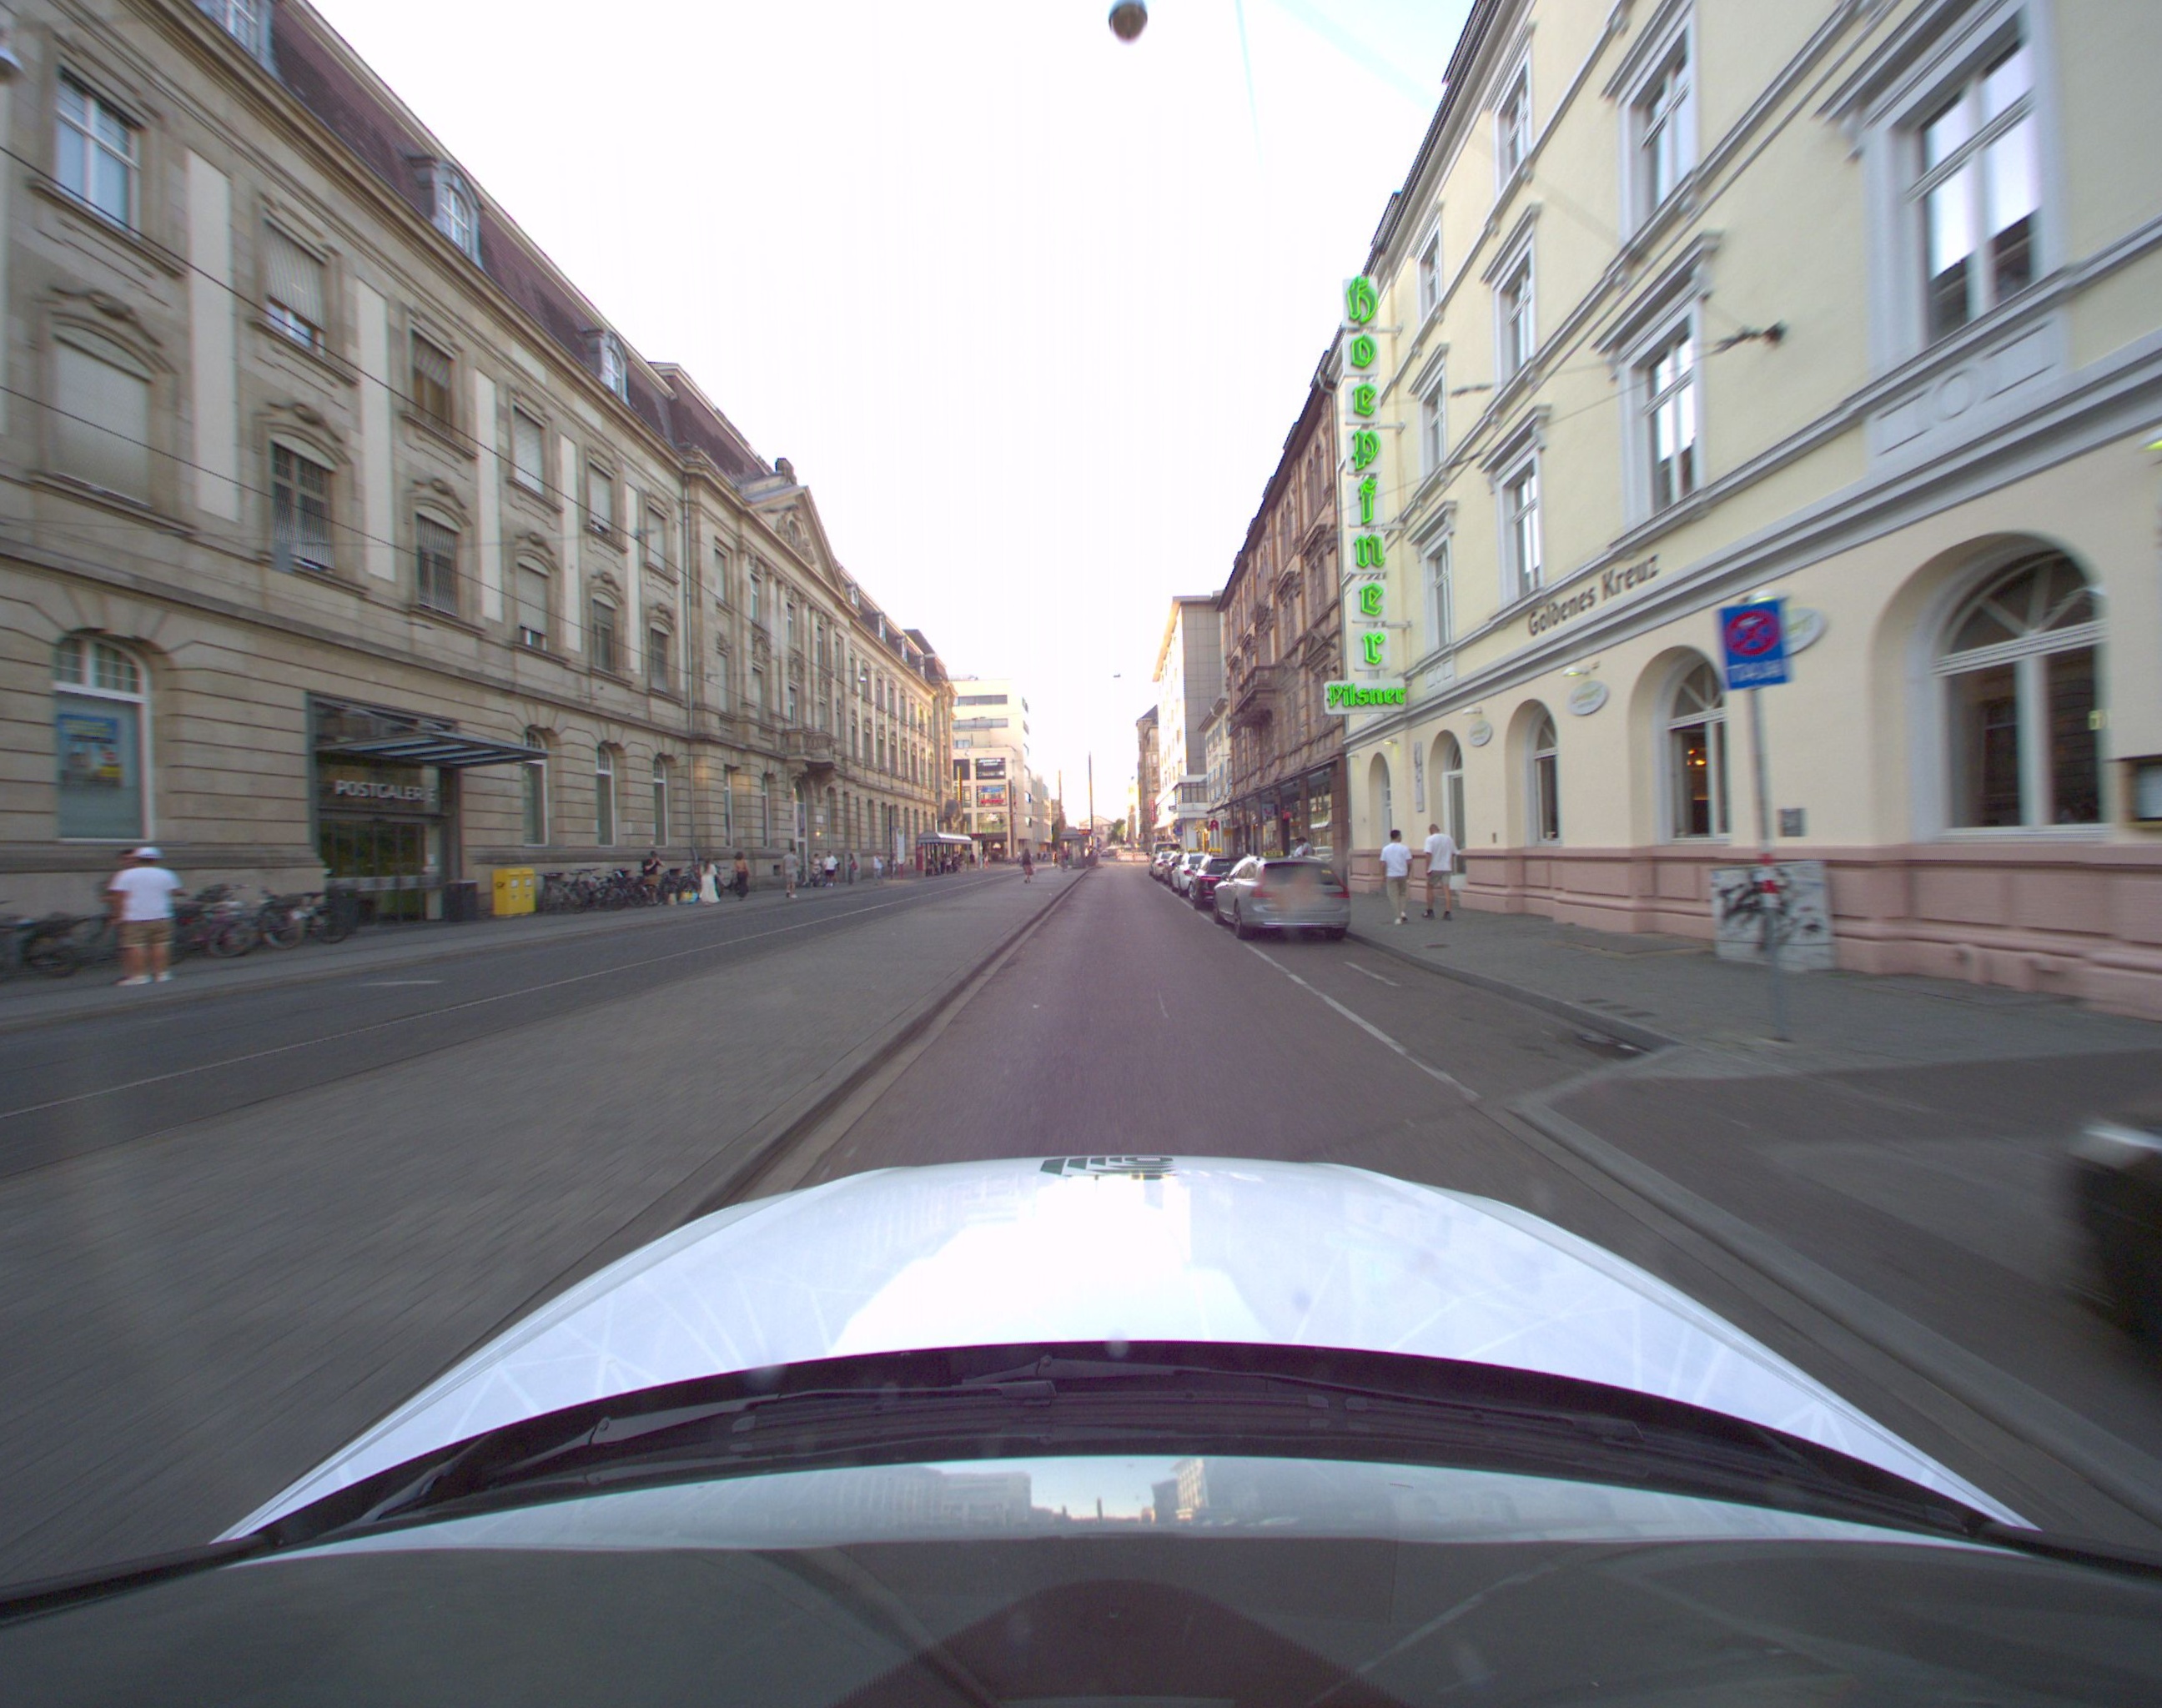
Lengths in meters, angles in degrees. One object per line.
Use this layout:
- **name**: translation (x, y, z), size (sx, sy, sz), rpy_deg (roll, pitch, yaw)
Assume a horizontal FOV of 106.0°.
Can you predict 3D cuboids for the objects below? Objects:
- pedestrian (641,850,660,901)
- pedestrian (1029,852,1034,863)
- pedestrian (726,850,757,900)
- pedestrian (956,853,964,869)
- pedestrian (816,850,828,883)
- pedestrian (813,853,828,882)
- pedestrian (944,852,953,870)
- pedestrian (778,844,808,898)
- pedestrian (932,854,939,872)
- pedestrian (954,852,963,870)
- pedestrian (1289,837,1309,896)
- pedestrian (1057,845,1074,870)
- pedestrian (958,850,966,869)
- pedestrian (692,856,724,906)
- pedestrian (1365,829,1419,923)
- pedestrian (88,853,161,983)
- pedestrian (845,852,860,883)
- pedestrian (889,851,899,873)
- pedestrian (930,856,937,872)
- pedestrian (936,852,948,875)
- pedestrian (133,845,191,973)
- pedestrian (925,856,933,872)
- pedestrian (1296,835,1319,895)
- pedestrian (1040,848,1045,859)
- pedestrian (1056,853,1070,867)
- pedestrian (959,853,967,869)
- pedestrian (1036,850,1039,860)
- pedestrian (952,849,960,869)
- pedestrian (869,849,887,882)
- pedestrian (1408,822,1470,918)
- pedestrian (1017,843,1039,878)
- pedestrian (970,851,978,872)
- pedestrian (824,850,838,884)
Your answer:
- **pedestrian**: translation (-14.022, 0.688, 26.538), size (0.362, 1.633, 0.430), rpy_deg (0, 0, 7)
- **pedestrian**: translation (-7.628, 0.553, 126.503), size (0.644, 1.674, 0.532), rpy_deg (-2, 0, 10)
- **pedestrian**: translation (-11.901, 0.717, 28.588), size (0.690, 1.712, 0.815), rpy_deg (-1, 0, 1)
- **pedestrian**: translation (-9.601, 0.554, 64.588), size (0.515, 1.327, 0.639), rpy_deg (-1, -1, 5)
- **pedestrian**: translation (-12.814, 0.605, 40.258), size (0.333, 1.642, 0.607), rpy_deg (-1, 0, 9)
- **pedestrian**: translation (-13.152, 0.684, 41.146), size (0.435, 1.440, 0.575), rpy_deg (-1, -1, 38)
- **pedestrian**: translation (-9.944, 0.537, 61.203), size (0.515, 1.327, 0.639), rpy_deg (-1, -1, 5)
- **pedestrian**: translation (-10.000, 0.585, 28.269), size (0.690, 1.813, 0.815), rpy_deg (-1, 0, 1)
- **pedestrian**: translation (-9.962, 0.597, 55.736), size (0.362, 1.200, 0.430), rpy_deg (0, 0, 7)
- **pedestrian**: translation (-9.625, 0.552, 63.820), size (0.515, 1.327, 0.639), rpy_deg (-1, -1, 5)
- **pedestrian**: translation (6.673, 0.380, 24.933), size (0.372, 1.768, 0.455), rpy_deg (-4, 0, -2)
- **pedestrian**: translation (-1.014, 0.245, 54.219), size (0.679, 1.637, 0.866), rpy_deg (-1, 0, 42)
- **pedestrian**: translation (-10.017, 0.426, 68.532), size (0.515, 1.569, 0.639), rpy_deg (-1, -1, 5)
- **pedestrian**: translation (-11.282, 0.809, 24.636), size (0.690, 1.466, 0.556), rpy_deg (-1, 0, 1)
- **pedestrian**: translation (5.842, 0.420, 15.305), size (0.488, 1.689, 0.614), rpy_deg (-6, 0, -37)
- **pedestrian**: translation (-12.598, 0.824, 10.733), size (0.373, 1.673, 0.495), rpy_deg (-1, 0, 9)
- **pedestrian**: translation (-11.804, 0.696, 42.100), size (0.565, 1.605, 0.443), rpy_deg (-1, -1, 28)
- **pedestrian**: translation (-13.637, 0.587, 59.344), size (0.660, 1.562, 0.677), rpy_deg (-1, 0, -13)
- **pedestrian**: translation (-9.947, 0.664, 54.890), size (0.362, 1.102, 0.430), rpy_deg (0, 0, 7)
- **pedestrian**: translation (-10.031, 0.669, 58.776), size (0.513, 1.650, 0.641), rpy_deg (-2, -1, 24)
- **pedestrian**: translation (-12.056, 0.702, 10.687), size (0.371, 1.631, 0.496), rpy_deg (-1, -1, 42)
- **pedestrian**: translation (-10.123, 0.663, 54.307), size (0.362, 1.102, 0.430), rpy_deg (0, 0, 7)
- **pedestrian**: translation (6.753, 0.324, 24.329), size (0.372, 1.768, 0.663), rpy_deg (-4, 0, -2)
- **pedestrian**: translation (-6.042, -0.077, 126.853), size (0.779, 1.751, 0.600), rpy_deg (0, 0, -2)
- **pedestrian**: translation (-1.333, 0.435, 59.271), size (0.791, 0.939, 0.697), rpy_deg (-1, 0, 24)
- **pedestrian**: translation (-9.497, 0.556, 65.457), size (0.515, 1.327, 0.639), rpy_deg (-1, -1, 5)
- **pedestrian**: translation (-6.808, 0.182, 126.662), size (0.388, 1.515, 0.506), rpy_deg (-2, 0, 0)
- **pedestrian**: translation (-10.390, 0.410, 67.774), size (0.515, 1.646, 0.639), rpy_deg (-1, -1, 5)
- **pedestrian**: translation (-9.886, 0.540, 39.712), size (0.657, 1.562, 0.680), rpy_deg (-1, 0, 1)
- **pedestrian**: translation (6.626, 0.292, 15.106), size (0.757, 1.689, 0.551), rpy_deg (-6, 0, 1)
- **pedestrian**: translation (-2.346, 0.295, 36.332), size (0.843, 1.501, 0.901), rpy_deg (-1, 0, 1)
- **pedestrian**: translation (-9.403, 0.668, 71.586), size (0.558, 1.776, 0.468), rpy_deg (-1, 0, -3)
- **pedestrian**: translation (-12.351, 0.651, 40.219), size (0.473, 1.642, 0.563), rpy_deg (0, 0, 6)
